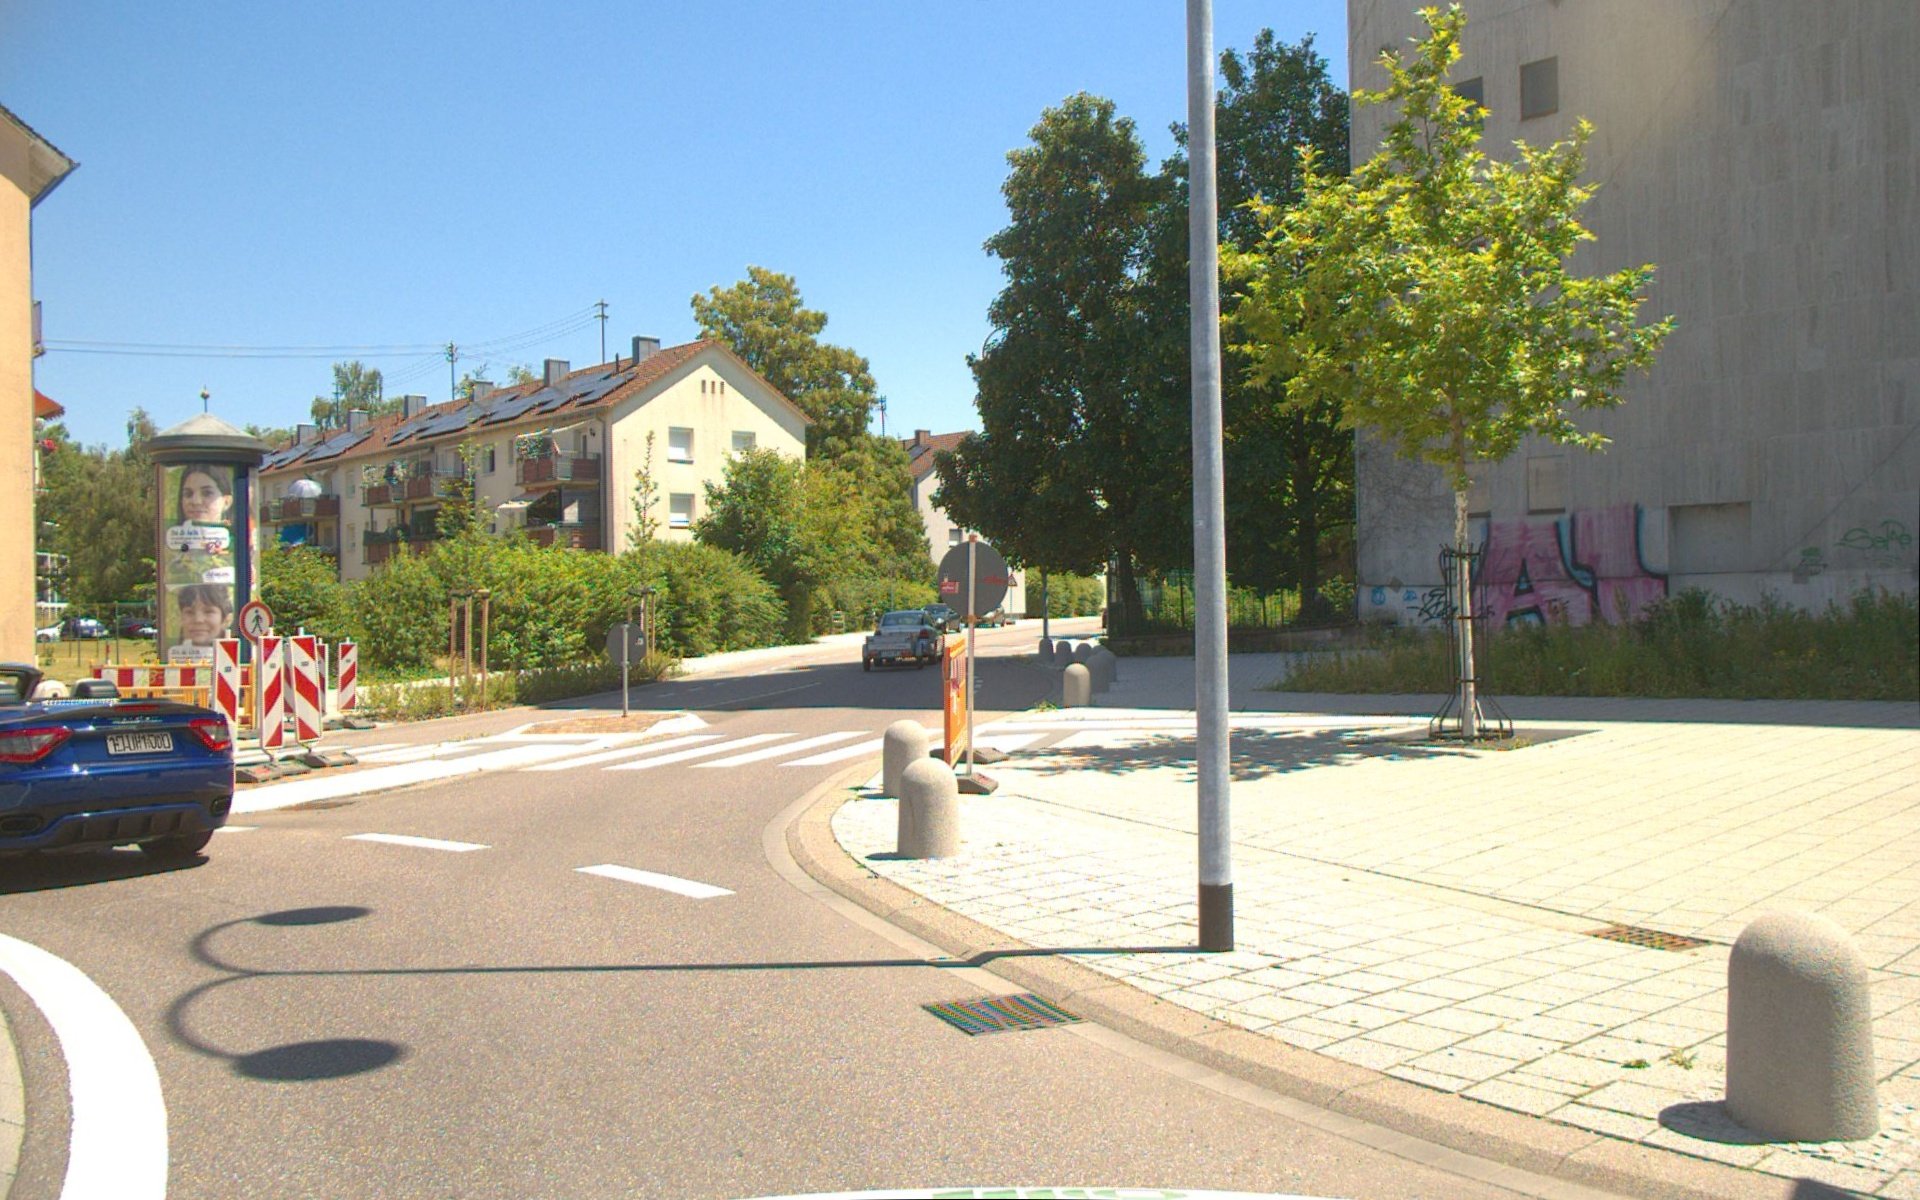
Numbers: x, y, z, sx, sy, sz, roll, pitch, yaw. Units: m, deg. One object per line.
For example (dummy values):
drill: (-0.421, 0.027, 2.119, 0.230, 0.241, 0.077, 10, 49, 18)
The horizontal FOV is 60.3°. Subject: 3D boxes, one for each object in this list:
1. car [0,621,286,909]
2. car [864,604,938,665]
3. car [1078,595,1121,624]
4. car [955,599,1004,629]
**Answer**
car: (-6.633, 1.022, 11.046, 4.415, 1.557, 1.870, -3, -2, 35)
car: (-1.534, 0.884, 43.932, 1.703, 1.461, 3.711, -3, 0, 1)
car: (7.759, 0.527, 91.833, 1.702, 1.461, 3.714, -3, 0, 15)
car: (1.101, 0.740, 90.101, 1.702, 1.461, 3.713, -3, 0, 15)
